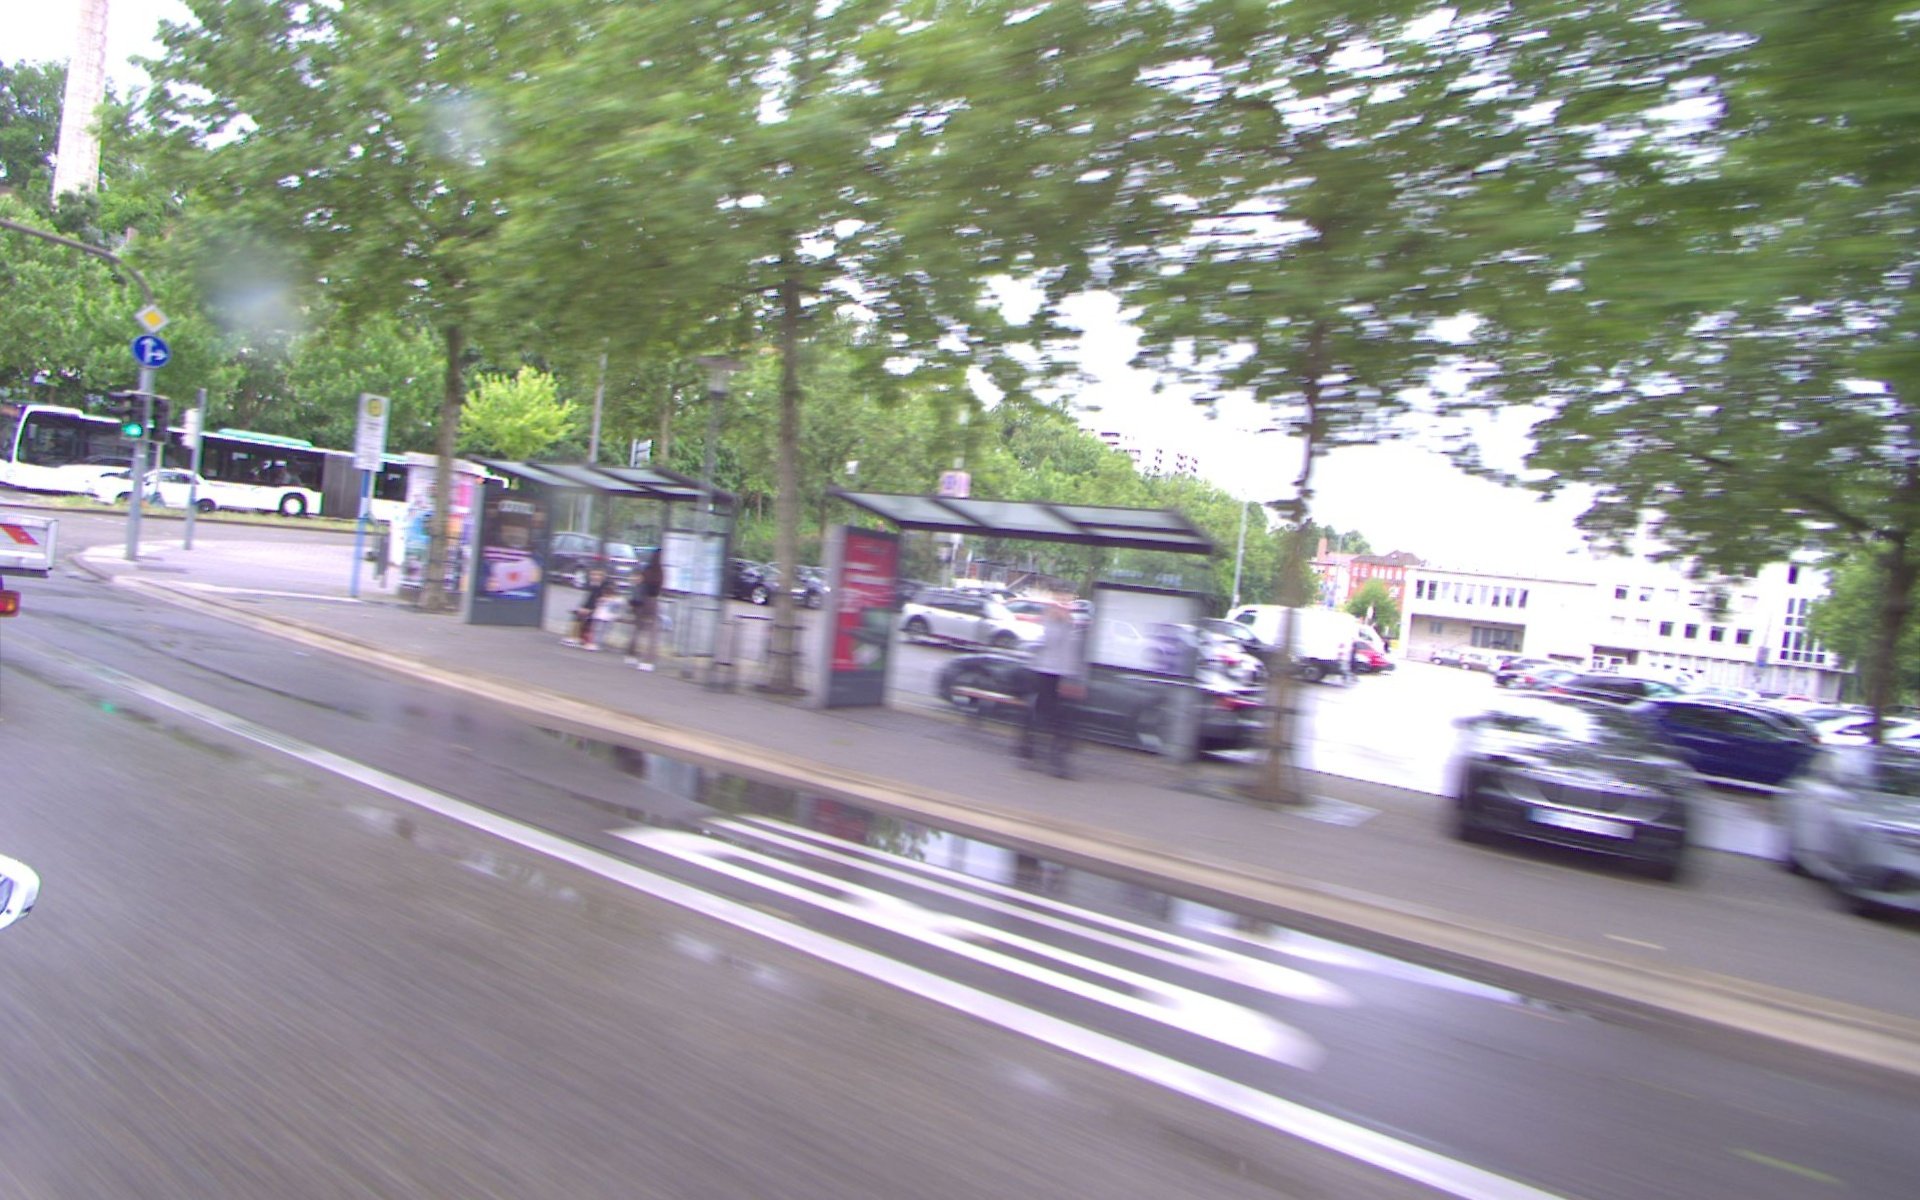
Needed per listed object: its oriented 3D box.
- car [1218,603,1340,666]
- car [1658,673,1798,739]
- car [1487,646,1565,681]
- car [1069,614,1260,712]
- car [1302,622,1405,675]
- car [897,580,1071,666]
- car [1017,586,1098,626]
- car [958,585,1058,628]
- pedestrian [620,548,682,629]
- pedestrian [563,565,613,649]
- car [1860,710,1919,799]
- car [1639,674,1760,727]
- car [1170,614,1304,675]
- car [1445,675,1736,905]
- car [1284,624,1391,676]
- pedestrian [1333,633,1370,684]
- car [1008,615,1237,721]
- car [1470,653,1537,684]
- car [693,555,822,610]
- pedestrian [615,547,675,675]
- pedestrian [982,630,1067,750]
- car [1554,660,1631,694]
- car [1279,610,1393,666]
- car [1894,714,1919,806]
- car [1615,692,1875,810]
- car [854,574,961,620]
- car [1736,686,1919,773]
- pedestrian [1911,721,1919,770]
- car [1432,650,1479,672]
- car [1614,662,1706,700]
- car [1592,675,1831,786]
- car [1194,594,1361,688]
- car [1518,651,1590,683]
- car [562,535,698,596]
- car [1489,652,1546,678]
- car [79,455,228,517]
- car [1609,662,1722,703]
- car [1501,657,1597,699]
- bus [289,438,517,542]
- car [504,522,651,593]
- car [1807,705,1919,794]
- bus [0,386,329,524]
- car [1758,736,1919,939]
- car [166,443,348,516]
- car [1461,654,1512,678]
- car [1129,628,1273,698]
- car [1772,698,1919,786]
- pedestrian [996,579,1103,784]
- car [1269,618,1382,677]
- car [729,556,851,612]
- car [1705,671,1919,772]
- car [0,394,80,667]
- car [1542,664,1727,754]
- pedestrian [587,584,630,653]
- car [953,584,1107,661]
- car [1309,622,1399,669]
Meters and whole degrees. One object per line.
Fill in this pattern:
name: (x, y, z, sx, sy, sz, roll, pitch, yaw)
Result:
car: (13.001, 1.383, 41.012, 4.287, 1.854, 1.831, 9, 3, 27)
car: (26.929, 3.684, 35.425, 3.548, 1.613, 1.529, 9, 3, 29)
car: (29.287, 3.261, 52.042, 3.299, 1.252, 1.528, 9, 3, 32)
car: (4.820, 1.431, 23.815, 3.930, 1.612, 1.759, 9, 3, 28)
car: (19.073, 2.310, 48.750, 4.287, 1.854, 1.831, 9, 3, 27)
car: (0.615, 0.584, 26.519, 4.104, 1.612, 1.759, 9, 3, 28)
car: (5.644, 0.344, 58.444, 4.199, 1.697, 1.849, 9, 2, 39)
car: (2.235, 0.306, 47.378, 4.188, 1.459, 1.853, 8, 2, 28)
pedestrian: (-6.797, -0.247, 22.116, 0.846, 1.654, 0.766, 9, 3, 31)
pedestrian: (-6.008, 0.122, 16.257, 0.395, 1.287, 0.499, 9, 3, 31)
car: (20.683, 3.375, 20.144, 3.551, 1.613, 1.528, 9, 3, 33)
car: (29.597, 3.996, 40.393, 3.536, 1.535, 1.638, 7, 0, 28)
car: (8.443, 1.335, 30.721, 3.569, 1.252, 1.529, 9, 3, 28)
car: (5.969, 1.686, 10.070, 1.830, 1.501, 4.415, 7, -2, 26)
car: (17.499, 2.283, 46.623, 4.287, 1.724, 1.831, 9, 3, 27)
pedestrian: (13.912, 2.086, 35.737, 0.654, 1.670, 0.790, 5, 4, -32)
car: (3.446, 1.380, 21.484, 4.367, 1.459, 1.735, 9, 3, 28)
car: (37.605, 4.732, 69.645, 3.860, 1.565, 1.639, 7, 0, 27)
car: (-7.222, -0.621, 35.797, 4.188, 1.372, 1.853, 8, 2, 28)
pedestrian: (-4.452, 0.146, 14.248, 0.532, 1.717, 0.554, 7, 2, -9)
pedestrian: (0.778, 1.079, 12.129, 0.617, 1.338, 0.630, 7, 0, 43)
car: (40.362, 4.909, 64.297, 3.860, 1.565, 1.639, 7, 0, 27)
car: (22.342, 2.231, 59.894, 5.936, 2.391, 2.228, 9, 3, 25)
car: (19.532, 3.245, 18.090, 3.549, 1.613, 1.569, 9, 3, 30)
car: (13.980, 2.642, 18.168, 3.296, 1.440, 1.639, 7, 0, 27)
car: (-2.314, -0.127, 43.913, 4.188, 1.415, 1.853, 8, 2, 28)
car: (26.213, 3.839, 29.829, 4.548, 1.692, 1.970, 9, 3, 25)
pedestrian: (27.029, 3.952, 27.811, 0.727, 1.613, 0.575, 9, 4, 29)
car: (46.946, 5.786, 95.368, 3.860, 1.565, 1.639, 7, 0, 27)
car: (39.038, 4.491, 56.209, 3.860, 1.565, 1.639, 7, 0, 27)
car: (16.628, 2.833, 22.551, 3.986, 1.586, 1.613, 9, 3, 32)
car: (10.743, 1.325, 34.094, 4.923, 2.350, 1.970, 9, 3, 25)
car: (33.322, 3.729, 56.460, 3.299, 1.252, 1.528, 9, 3, 32)
car: (-10.989, -1.158, 33.448, 4.188, 1.459, 1.853, 8, 2, 28)
car: (45.118, 5.266, 81.508, 3.860, 1.565, 1.639, 7, 0, 27)
car: (-27.440, -3.854, 34.345, 1.563, 1.470, 3.562, 10, 2, 29)
car: (36.199, 4.237, 51.788, 4.430, 1.441, 1.639, 7, 0, 27)
car: (25.986, 3.421, 44.517, 3.293, 1.252, 1.531, 9, 3, 20)
bus: (-24.735, -4.793, 45.253, 2.643, 3.221, 8.540, 10, 2, 31)
car: (-11.790, -1.312, 30.938, 4.188, 1.634, 1.802, 8, 2, 28)
car: (21.828, 3.547, 22.806, 3.569, 1.579, 1.529, 9, 3, 28)
bus: (-29.352, -5.164, 37.412, 2.659, 3.258, 9.638, 10, 2, 30)
car: (8.887, 2.115, 9.148, 1.831, 1.421, 4.749, 7, -2, 32)
car: (-31.001, -5.251, 44.512, 6.295, 2.264, 2.228, 5, 3, -42)
car: (47.257, 5.927, 90.371, 3.860, 1.565, 1.639, 7, 0, 27)
car: (6.322, 1.610, 26.434, 3.297, 1.252, 1.529, 9, 3, 28)
car: (23.148, 3.636, 25.519, 3.548, 1.613, 1.529, 9, 3, 29)
pedestrian: (0.899, 0.782, 9.922, 0.720, 1.864, 0.758, 7, 0, 16)
car: (16.010, 2.045, 44.107, 4.287, 1.854, 1.831, 9, 3, 27)
car: (-6.442, -0.611, 38.099, 4.188, 1.499, 1.853, 8, 2, 28)
car: (27.214, 3.795, 32.251, 4.797, 2.183, 1.970, 9, 3, 25)
car: (-10.102, -0.859, 8.779, 5.451, 2.115, 2.104, 7, 0, 33)
car: (16.900, 2.683, 25.427, 3.569, 1.524, 1.529, 9, 3, 28)
pedestrian: (-5.608, 0.294, 16.061, 0.364, 1.048, 0.400, 9, 3, 31)
car: (2.014, 0.628, 29.151, 3.930, 1.612, 1.759, 9, 3, 28)
car: (21.699, 2.475, 55.395, 4.287, 1.854, 1.831, 9, 3, 27)
